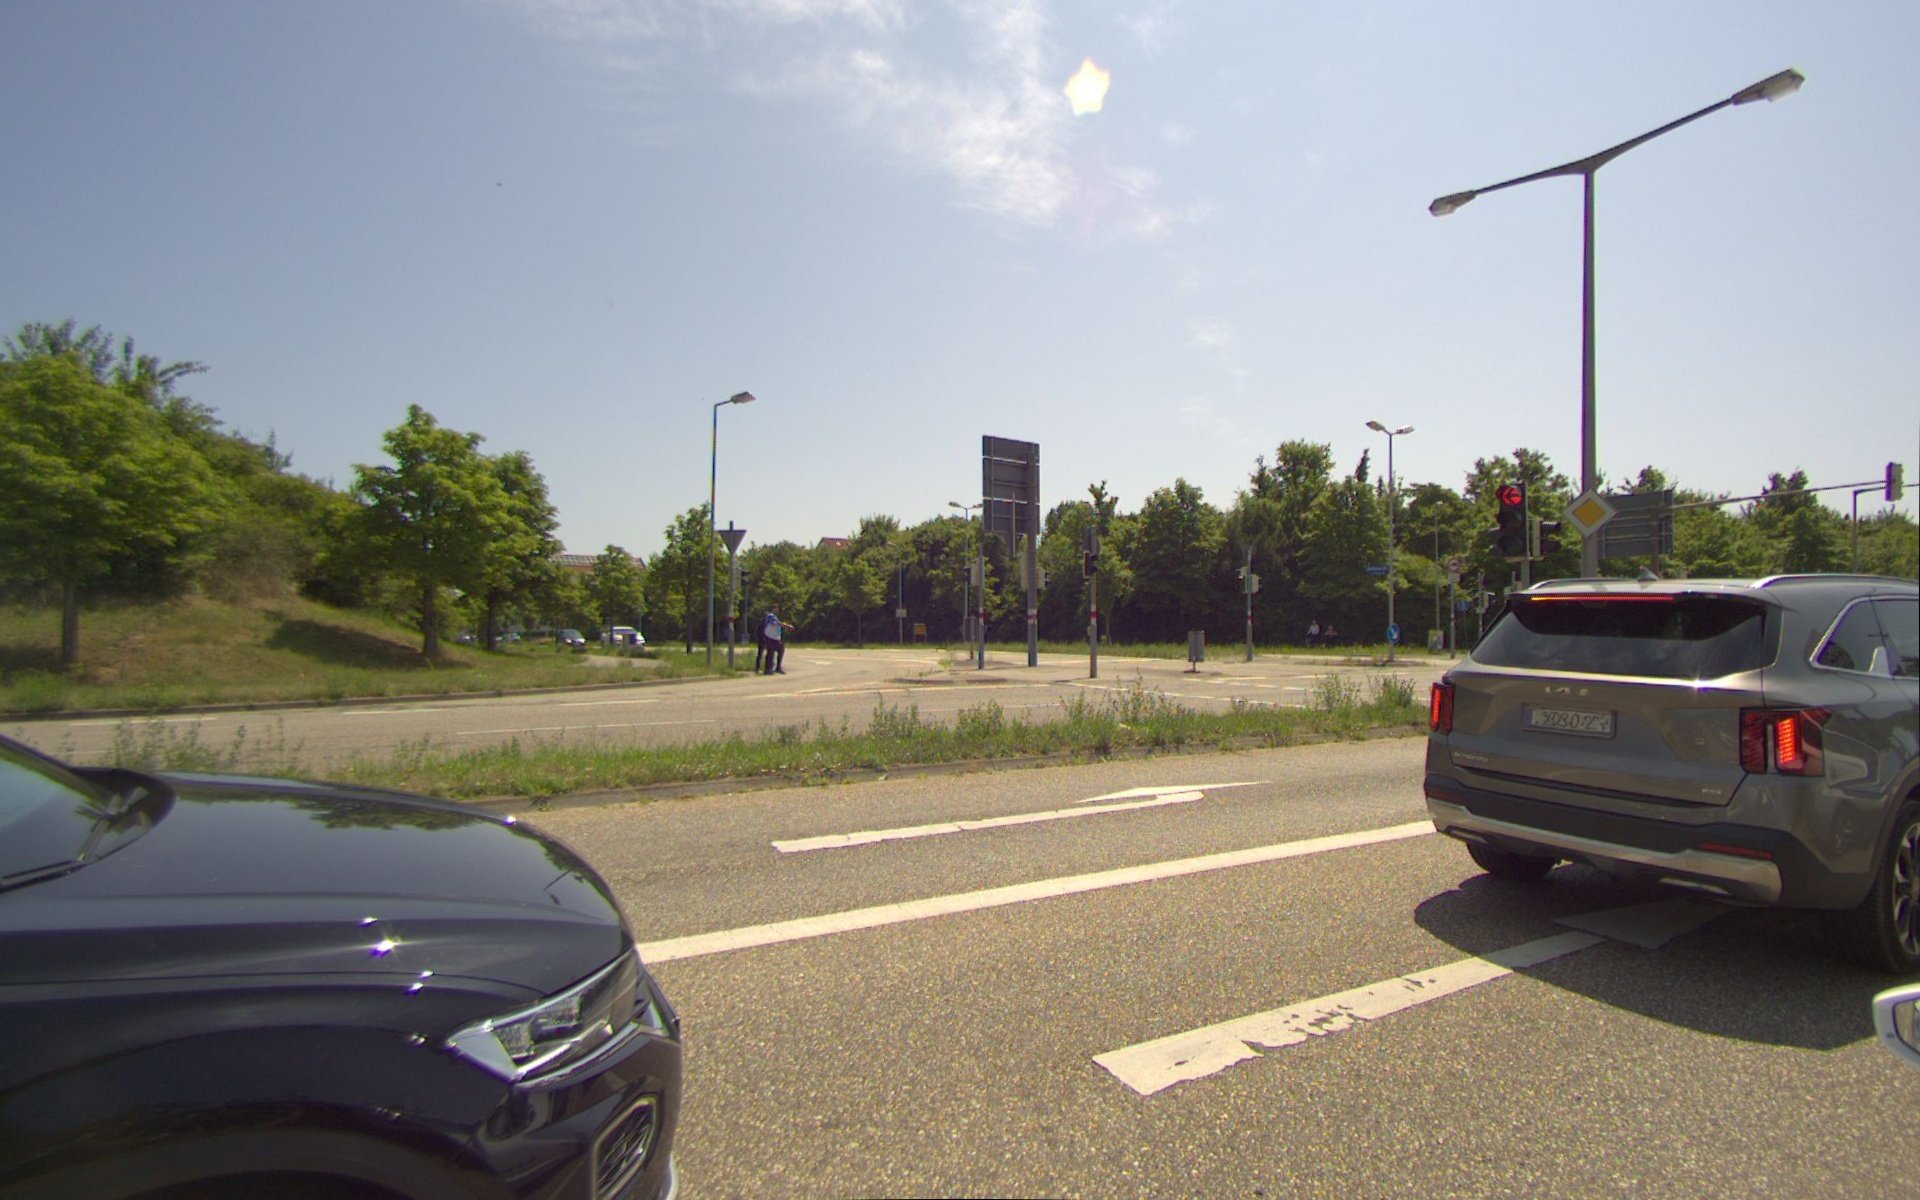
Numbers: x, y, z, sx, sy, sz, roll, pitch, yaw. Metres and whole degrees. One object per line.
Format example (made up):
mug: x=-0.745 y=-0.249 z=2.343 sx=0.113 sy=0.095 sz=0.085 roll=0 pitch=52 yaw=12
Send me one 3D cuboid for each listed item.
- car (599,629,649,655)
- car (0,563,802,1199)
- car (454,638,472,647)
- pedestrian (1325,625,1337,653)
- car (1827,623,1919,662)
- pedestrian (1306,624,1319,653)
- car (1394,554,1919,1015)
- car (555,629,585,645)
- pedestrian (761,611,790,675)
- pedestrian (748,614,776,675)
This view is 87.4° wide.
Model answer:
car: x=-21.175 y=2.641 z=63.235 sx=1.860 sy=1.522 sz=4.269 roll=-2 pitch=-1 yaw=-34
car: x=-2.399 y=0.688 z=1.445 sx=3.924 sy=1.532 sz=1.726 roll=2 pitch=0 yaw=-30
car: x=-76.951 y=6.628 z=155.463 sx=1.689 sy=1.353 sz=3.955 roll=1 pitch=-2 yaw=-39
pedestrian: x=20.595 y=2.164 z=55.754 sx=0.606 sy=1.523 sz=0.798 roll=0 pitch=-1 yaw=24
car: x=36.445 y=1.655 z=39.876 sx=4.119 sy=1.475 sz=1.814 roll=1 pitch=-1 yaw=-30
pedestrian: x=19.747 y=2.140 z=56.250 sx=0.606 sy=1.624 sz=0.798 roll=-1 pitch=-1 yaw=24
car: x=4.681 y=0.735 z=5.629 sx=4.590 sy=1.684 sz=1.795 roll=1 pitch=-1 yaw=-30
car: x=-33.431 y=3.158 z=86.042 sx=1.685 sy=1.353 sz=3.964 roll=1 pitch=-2 yaw=-33
pedestrian: x=-5.099 y=1.180 z=27.748 sx=0.779 sy=1.759 sz=0.582 roll=0 pitch=-1 yaw=-11
pedestrian: x=-5.683 y=1.260 z=28.853 sx=0.761 sy=1.722 sz=0.723 roll=0 pitch=-1 yaw=-11
